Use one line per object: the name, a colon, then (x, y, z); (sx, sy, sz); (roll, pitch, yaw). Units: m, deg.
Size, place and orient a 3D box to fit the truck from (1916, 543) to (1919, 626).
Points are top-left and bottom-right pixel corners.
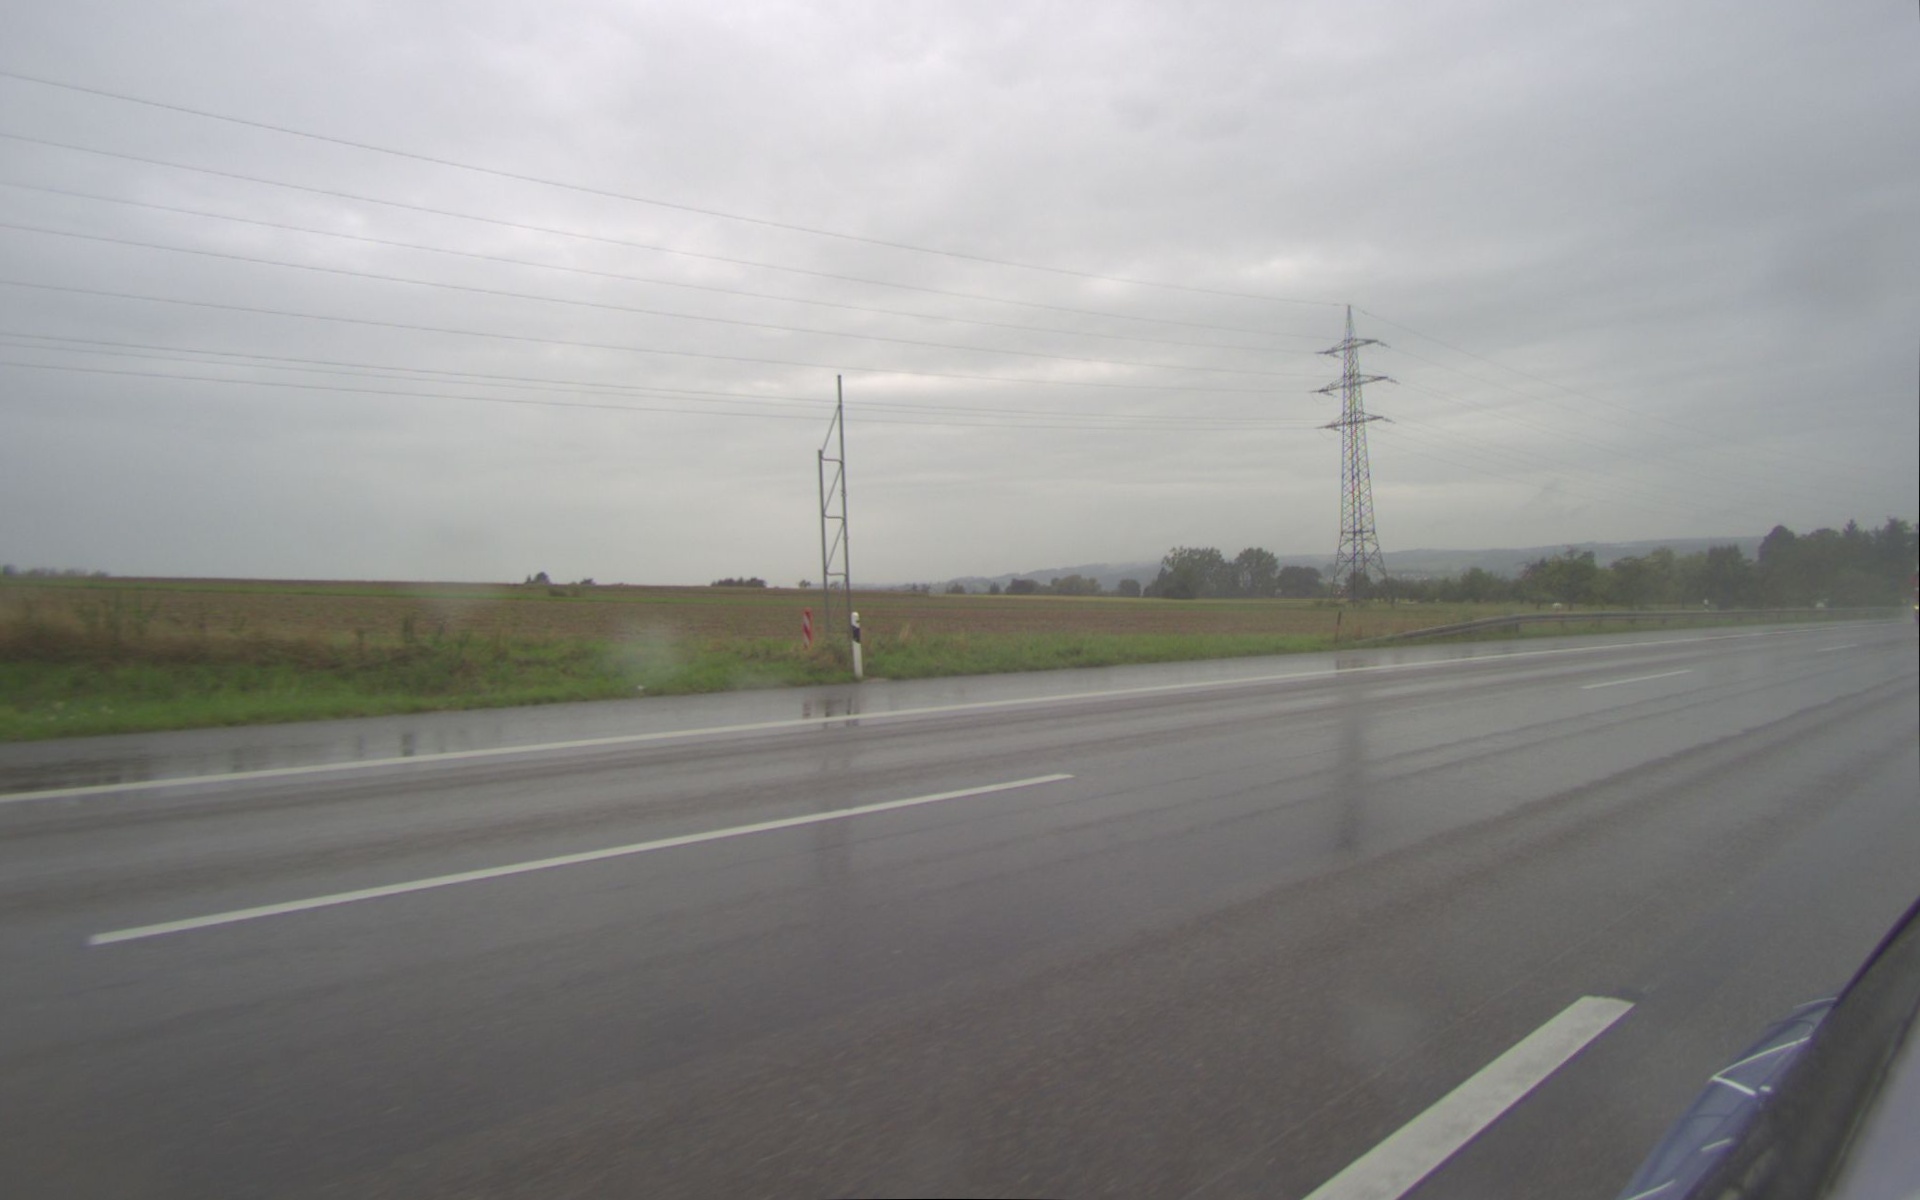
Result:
truck: (59.951, -0.919, 60.286); (11.203, 4.727, 3.134); (-1, 1, -40)
